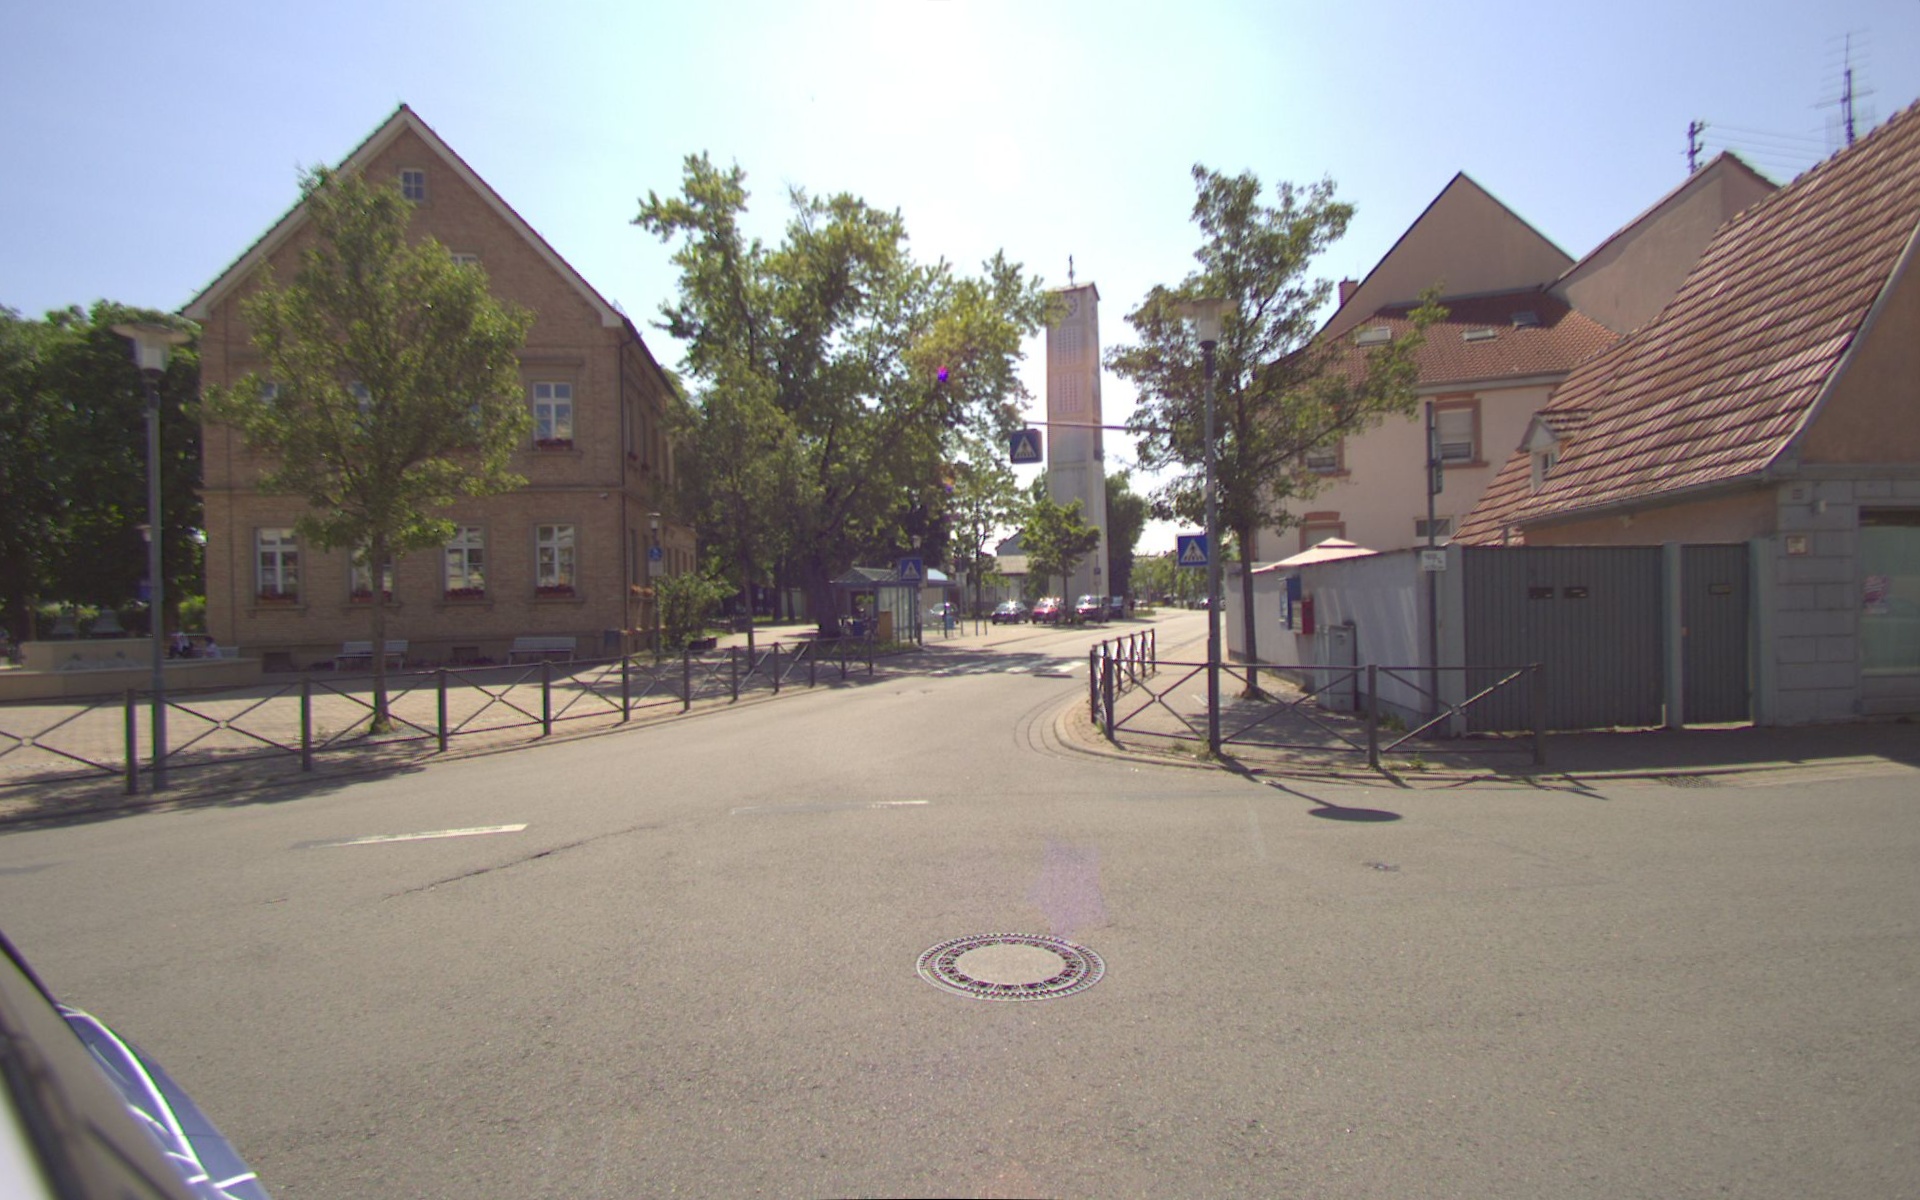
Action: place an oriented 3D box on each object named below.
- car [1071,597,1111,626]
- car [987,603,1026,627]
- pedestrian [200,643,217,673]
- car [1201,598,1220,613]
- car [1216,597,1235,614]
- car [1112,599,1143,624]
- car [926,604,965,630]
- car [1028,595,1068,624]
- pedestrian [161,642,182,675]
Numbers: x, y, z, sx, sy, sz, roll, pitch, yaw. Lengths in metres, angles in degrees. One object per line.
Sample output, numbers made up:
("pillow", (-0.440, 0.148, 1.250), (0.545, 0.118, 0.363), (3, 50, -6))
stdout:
("car", (8.436, 0.733, 65.003), (1.768, 1.807, 3.975), (-1, 0, 19))
("car", (3.103, 1.006, 66.385), (1.637, 1.479, 3.757), (-2, -1, 18))
("pedestrian", (-19.425, 1.494, 26.147), (0.284, 0.738, 0.359), (-1, -2, -25))
("car", (30.271, 0.719, 122.258), (1.761, 1.705, 3.990), (-2, -1, 8))
("car", (28.541, 0.617, 108.705), (1.767, 1.794, 3.977), (-2, -1, 18))
("car", (11.526, 0.784, 69.627), (1.764, 1.658, 3.982), (-2, -1, 14))
("car", (-0.952, 1.120, 67.596), (1.977, 1.629, 3.989), (-1, 0, 9))
("car", (5.782, 0.636, 66.100), (1.767, 1.807, 3.977), (-2, -1, 18))
("pedestrian", (-20.216, 1.502, 25.954), (0.361, 0.824, 0.363), (-1, -2, -25))
